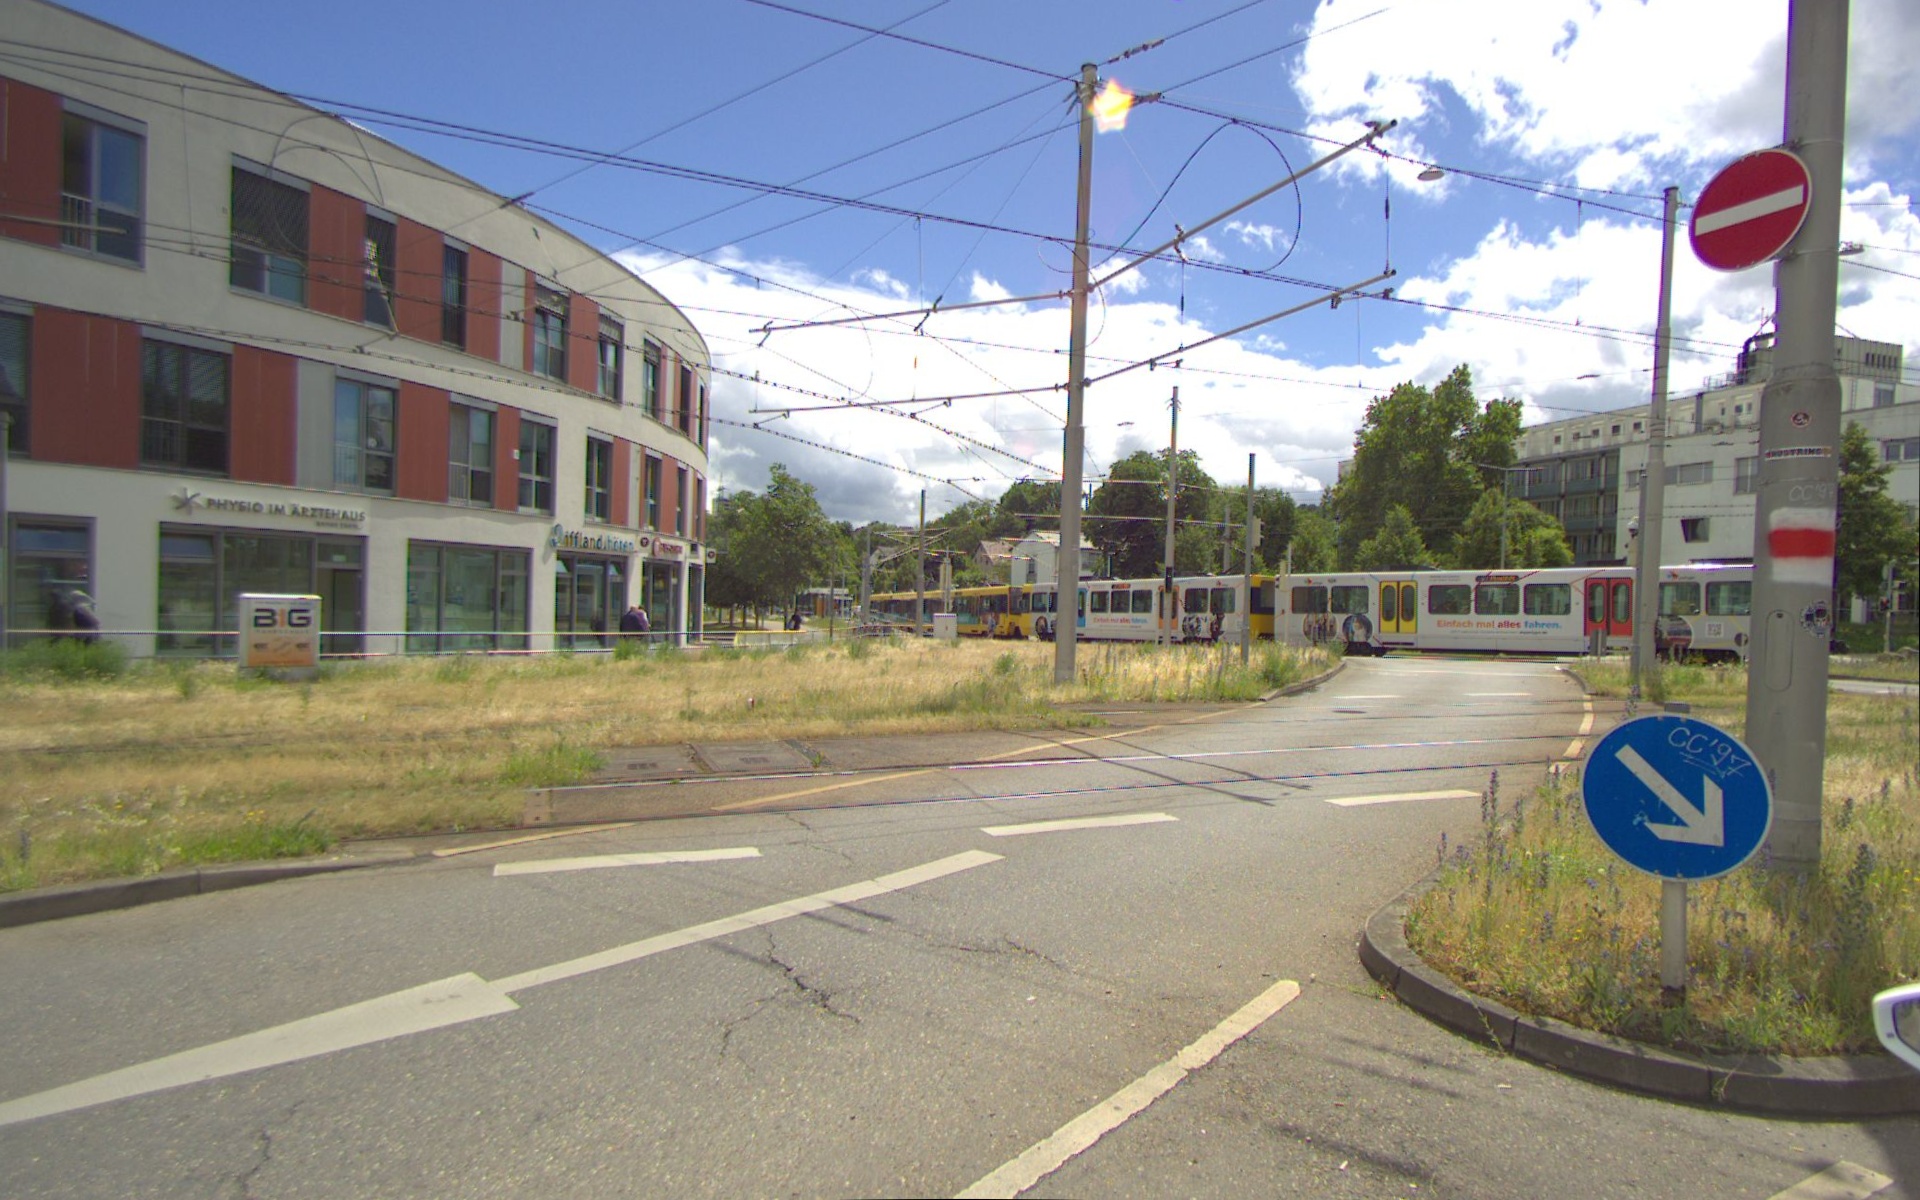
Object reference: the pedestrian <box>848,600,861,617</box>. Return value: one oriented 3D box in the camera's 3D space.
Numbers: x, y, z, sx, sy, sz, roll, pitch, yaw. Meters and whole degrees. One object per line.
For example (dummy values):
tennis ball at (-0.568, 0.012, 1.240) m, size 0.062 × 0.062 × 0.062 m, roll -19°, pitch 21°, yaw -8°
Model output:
pedestrian at (-12.655, 1.011, 120.683) m, size 1.241 × 2.040 × 1.121 m, roll 2°, pitch -1°, yaw -19°

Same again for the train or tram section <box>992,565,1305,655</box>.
train or tram section at (8.949, 0.595, 53.975) m, size 3.720 × 3.930 × 20.458 m, roll 2°, pitch -2°, yaw -32°

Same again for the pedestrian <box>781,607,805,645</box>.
pedestrian at (-7.465, 1.156, 44.963) m, size 0.847 × 1.646 × 0.733 m, roll 1°, pitch -1°, yaw 7°

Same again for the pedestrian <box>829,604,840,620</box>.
pedestrian at (-16.710, 1.591, 133.690) m, size 1.241 × 2.040 × 1.121 m, roll 2°, pitch -1°, yaw -19°

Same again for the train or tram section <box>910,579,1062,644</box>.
train or tram section at (1.188, 0.917, 71.661) m, size 3.705 × 3.880 × 20.058 m, roll 2°, pitch -2°, yaw -20°

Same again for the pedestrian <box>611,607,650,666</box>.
pedestrian at (-9.141, 1.014, 27.863) m, size 0.721 × 1.601 × 0.691 m, roll 1°, pitch 0°, yaw 20°

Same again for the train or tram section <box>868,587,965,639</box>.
train or tram section at (-4.215, 1.225, 88.018) m, size 3.702 × 3.970 × 18.826 m, roll 2°, pitch -2°, yaw -17°

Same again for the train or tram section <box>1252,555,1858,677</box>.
train or tram section at (21.691, 0.529, 39.285) m, size 19.732 × 3.864 × 3.747 m, roll 0°, pitch -2°, yaw 37°

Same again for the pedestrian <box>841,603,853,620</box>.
pedestrian at (-14.099, 1.425, 125.255) m, size 1.241 × 2.040 × 1.121 m, roll 2°, pitch -1°, yaw -19°

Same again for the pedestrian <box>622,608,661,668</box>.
pedestrian at (-10.938, 1.296, 34.524) m, size 0.847 × 1.994 × 1.106 m, roll 1°, pitch -1°, yaw 4°

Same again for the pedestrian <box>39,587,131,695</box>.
pedestrian at (-16.735, 0.780, 19.231) m, size 0.850 × 1.994 × 1.112 m, roll 0°, pitch -2°, yaw 36°
